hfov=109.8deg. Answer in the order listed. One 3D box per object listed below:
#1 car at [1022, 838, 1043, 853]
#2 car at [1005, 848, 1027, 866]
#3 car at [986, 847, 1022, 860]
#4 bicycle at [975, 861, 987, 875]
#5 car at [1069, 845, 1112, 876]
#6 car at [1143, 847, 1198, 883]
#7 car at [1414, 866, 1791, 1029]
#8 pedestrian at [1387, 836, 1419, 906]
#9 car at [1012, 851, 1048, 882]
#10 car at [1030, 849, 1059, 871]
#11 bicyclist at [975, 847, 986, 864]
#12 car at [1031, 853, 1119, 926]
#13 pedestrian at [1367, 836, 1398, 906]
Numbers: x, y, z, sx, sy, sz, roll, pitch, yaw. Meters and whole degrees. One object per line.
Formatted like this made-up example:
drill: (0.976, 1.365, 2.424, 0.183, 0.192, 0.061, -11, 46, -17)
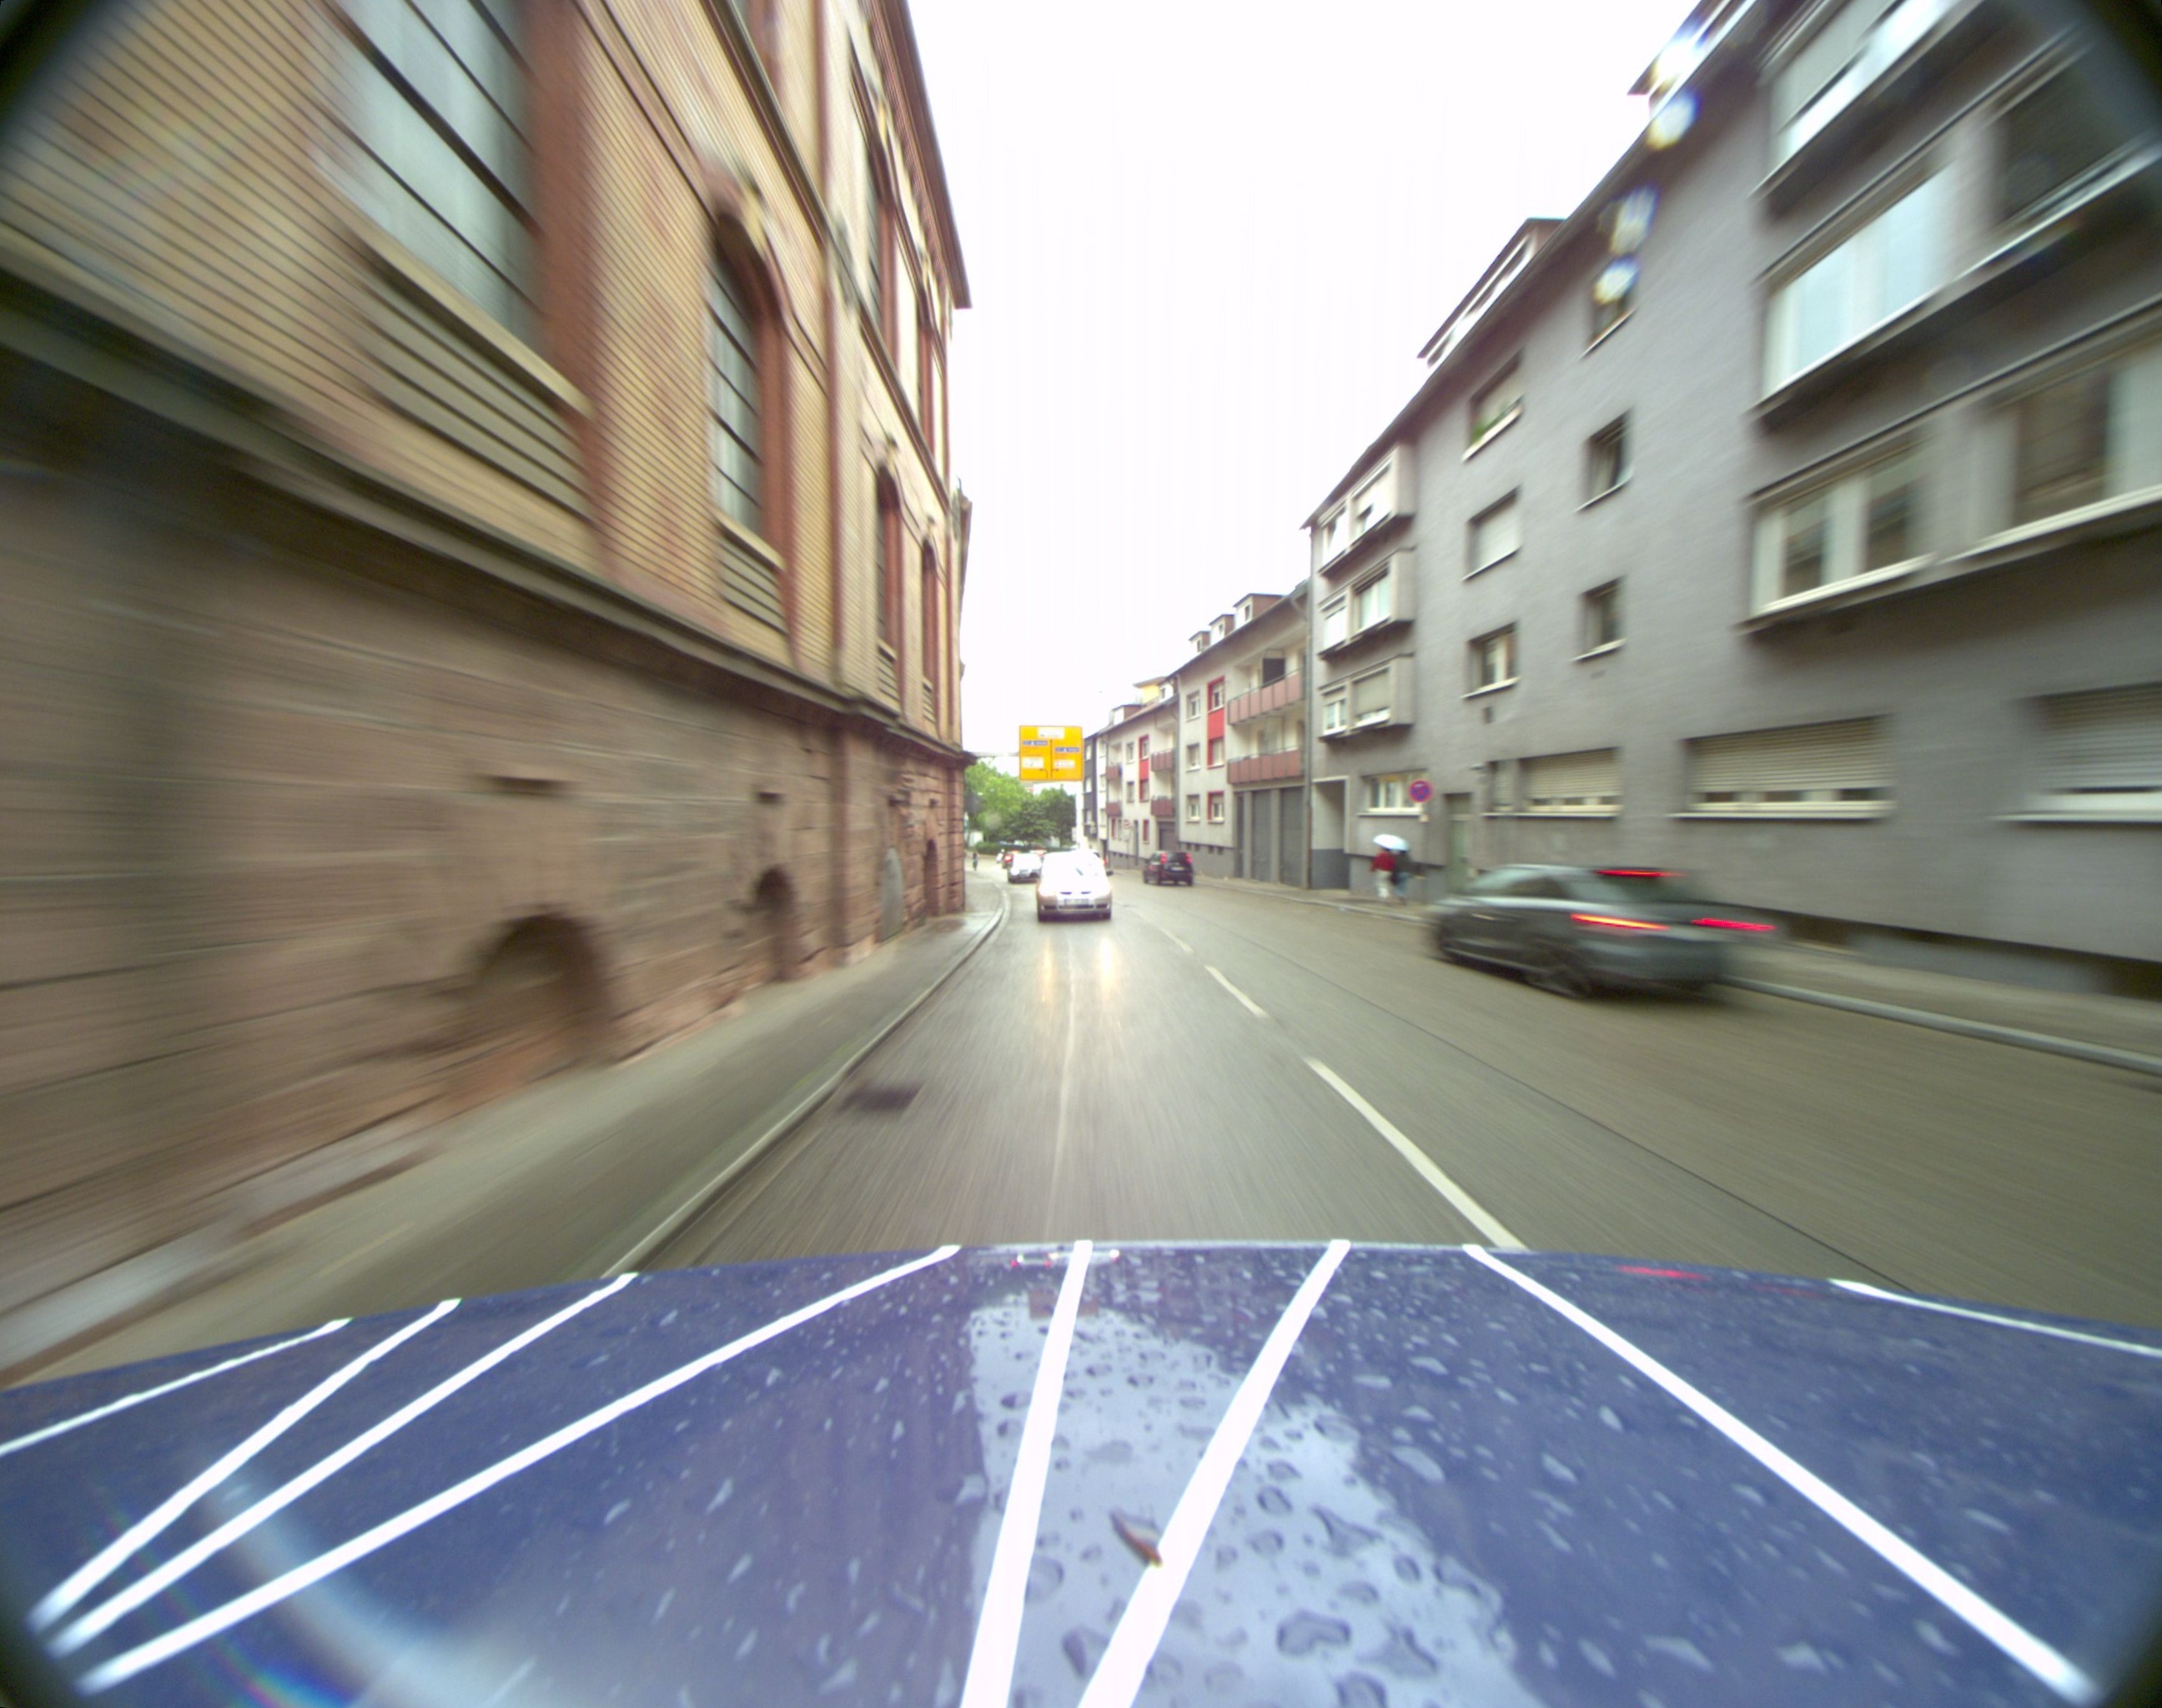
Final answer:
car: (-7.146, -1.246, 111.730, 1.639, 1.949, 4.202, 2, 2, -23)
car: (-6.238, 0.248, 72.588, 1.770, 1.648, 3.983, 0, 1, -9)
car: (-9.182, -0.076, 90.958, 4.008, 1.501, 1.795, -1, 1, -45)
bicycle: (-9.410, 1.323, 71.570, 0.889, 1.181, 2.130, -2, 2, -12)
car: (0.450, 0.299, 39.687, 1.770, 1.567, 4.033, 0, 1, -7)
car: (3.918, 0.473, 33.842, 1.650, 1.488, 3.374, 2, 0, -7)
car: (5.549, 0.876, 8.775, 1.649, 1.370, 3.850, 2, 0, 0)
pedestrian: (8.267, 0.439, 19.521, 0.524, 1.765, 0.622, 0, 0, -4)
car: (-2.609, 0.635, 39.053, 1.687, 1.418, 3.837, -3, 0, -4)
car: (-2.796, 0.418, 57.170, 1.770, 1.567, 3.761, 0, 1, -9)
bicyclist: (-9.439, 0.130, 71.573, 0.889, 1.481, 0.967, -2, 2, -12)
car: (-0.249, 0.759, 18.209, 1.687, 1.496, 3.836, -3, 0, -6)
pedestrian: (7.728, 0.442, 19.489, 0.524, 1.765, 0.622, 0, 0, -4)
